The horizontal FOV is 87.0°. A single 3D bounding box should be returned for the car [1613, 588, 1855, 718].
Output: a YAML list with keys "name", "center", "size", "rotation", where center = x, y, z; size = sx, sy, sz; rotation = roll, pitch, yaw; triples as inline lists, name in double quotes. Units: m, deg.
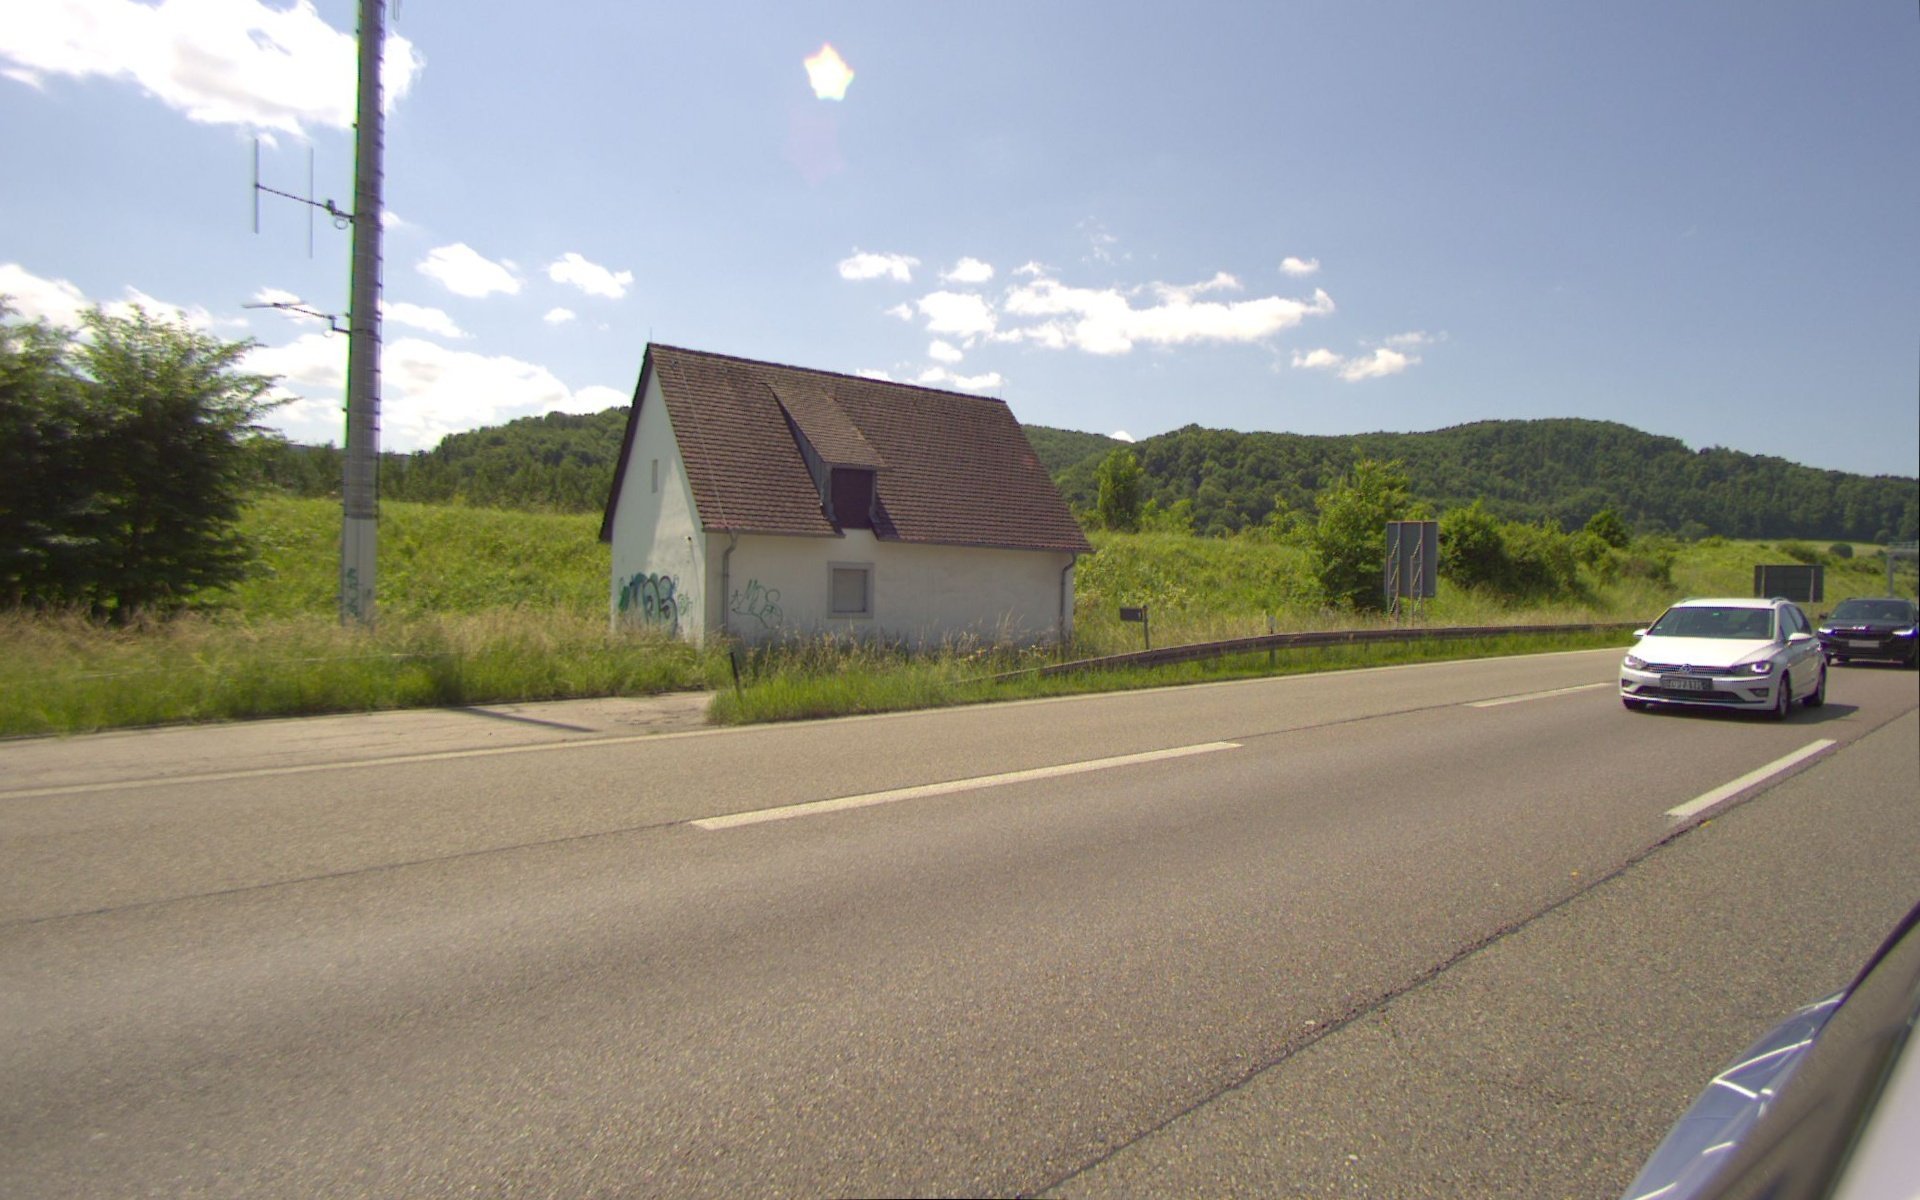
- name: "car"
  center: [10.856, 0.621, 14.105]
  size: [3.980, 1.560, 1.777]
  rotation: [0, 0, -39]

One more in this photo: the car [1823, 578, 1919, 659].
- name: "car"
  center: [22.501, 0.400, 24.389]
  size: [4.097, 1.794, 1.893]
  rotation: [0, 1, -40]
